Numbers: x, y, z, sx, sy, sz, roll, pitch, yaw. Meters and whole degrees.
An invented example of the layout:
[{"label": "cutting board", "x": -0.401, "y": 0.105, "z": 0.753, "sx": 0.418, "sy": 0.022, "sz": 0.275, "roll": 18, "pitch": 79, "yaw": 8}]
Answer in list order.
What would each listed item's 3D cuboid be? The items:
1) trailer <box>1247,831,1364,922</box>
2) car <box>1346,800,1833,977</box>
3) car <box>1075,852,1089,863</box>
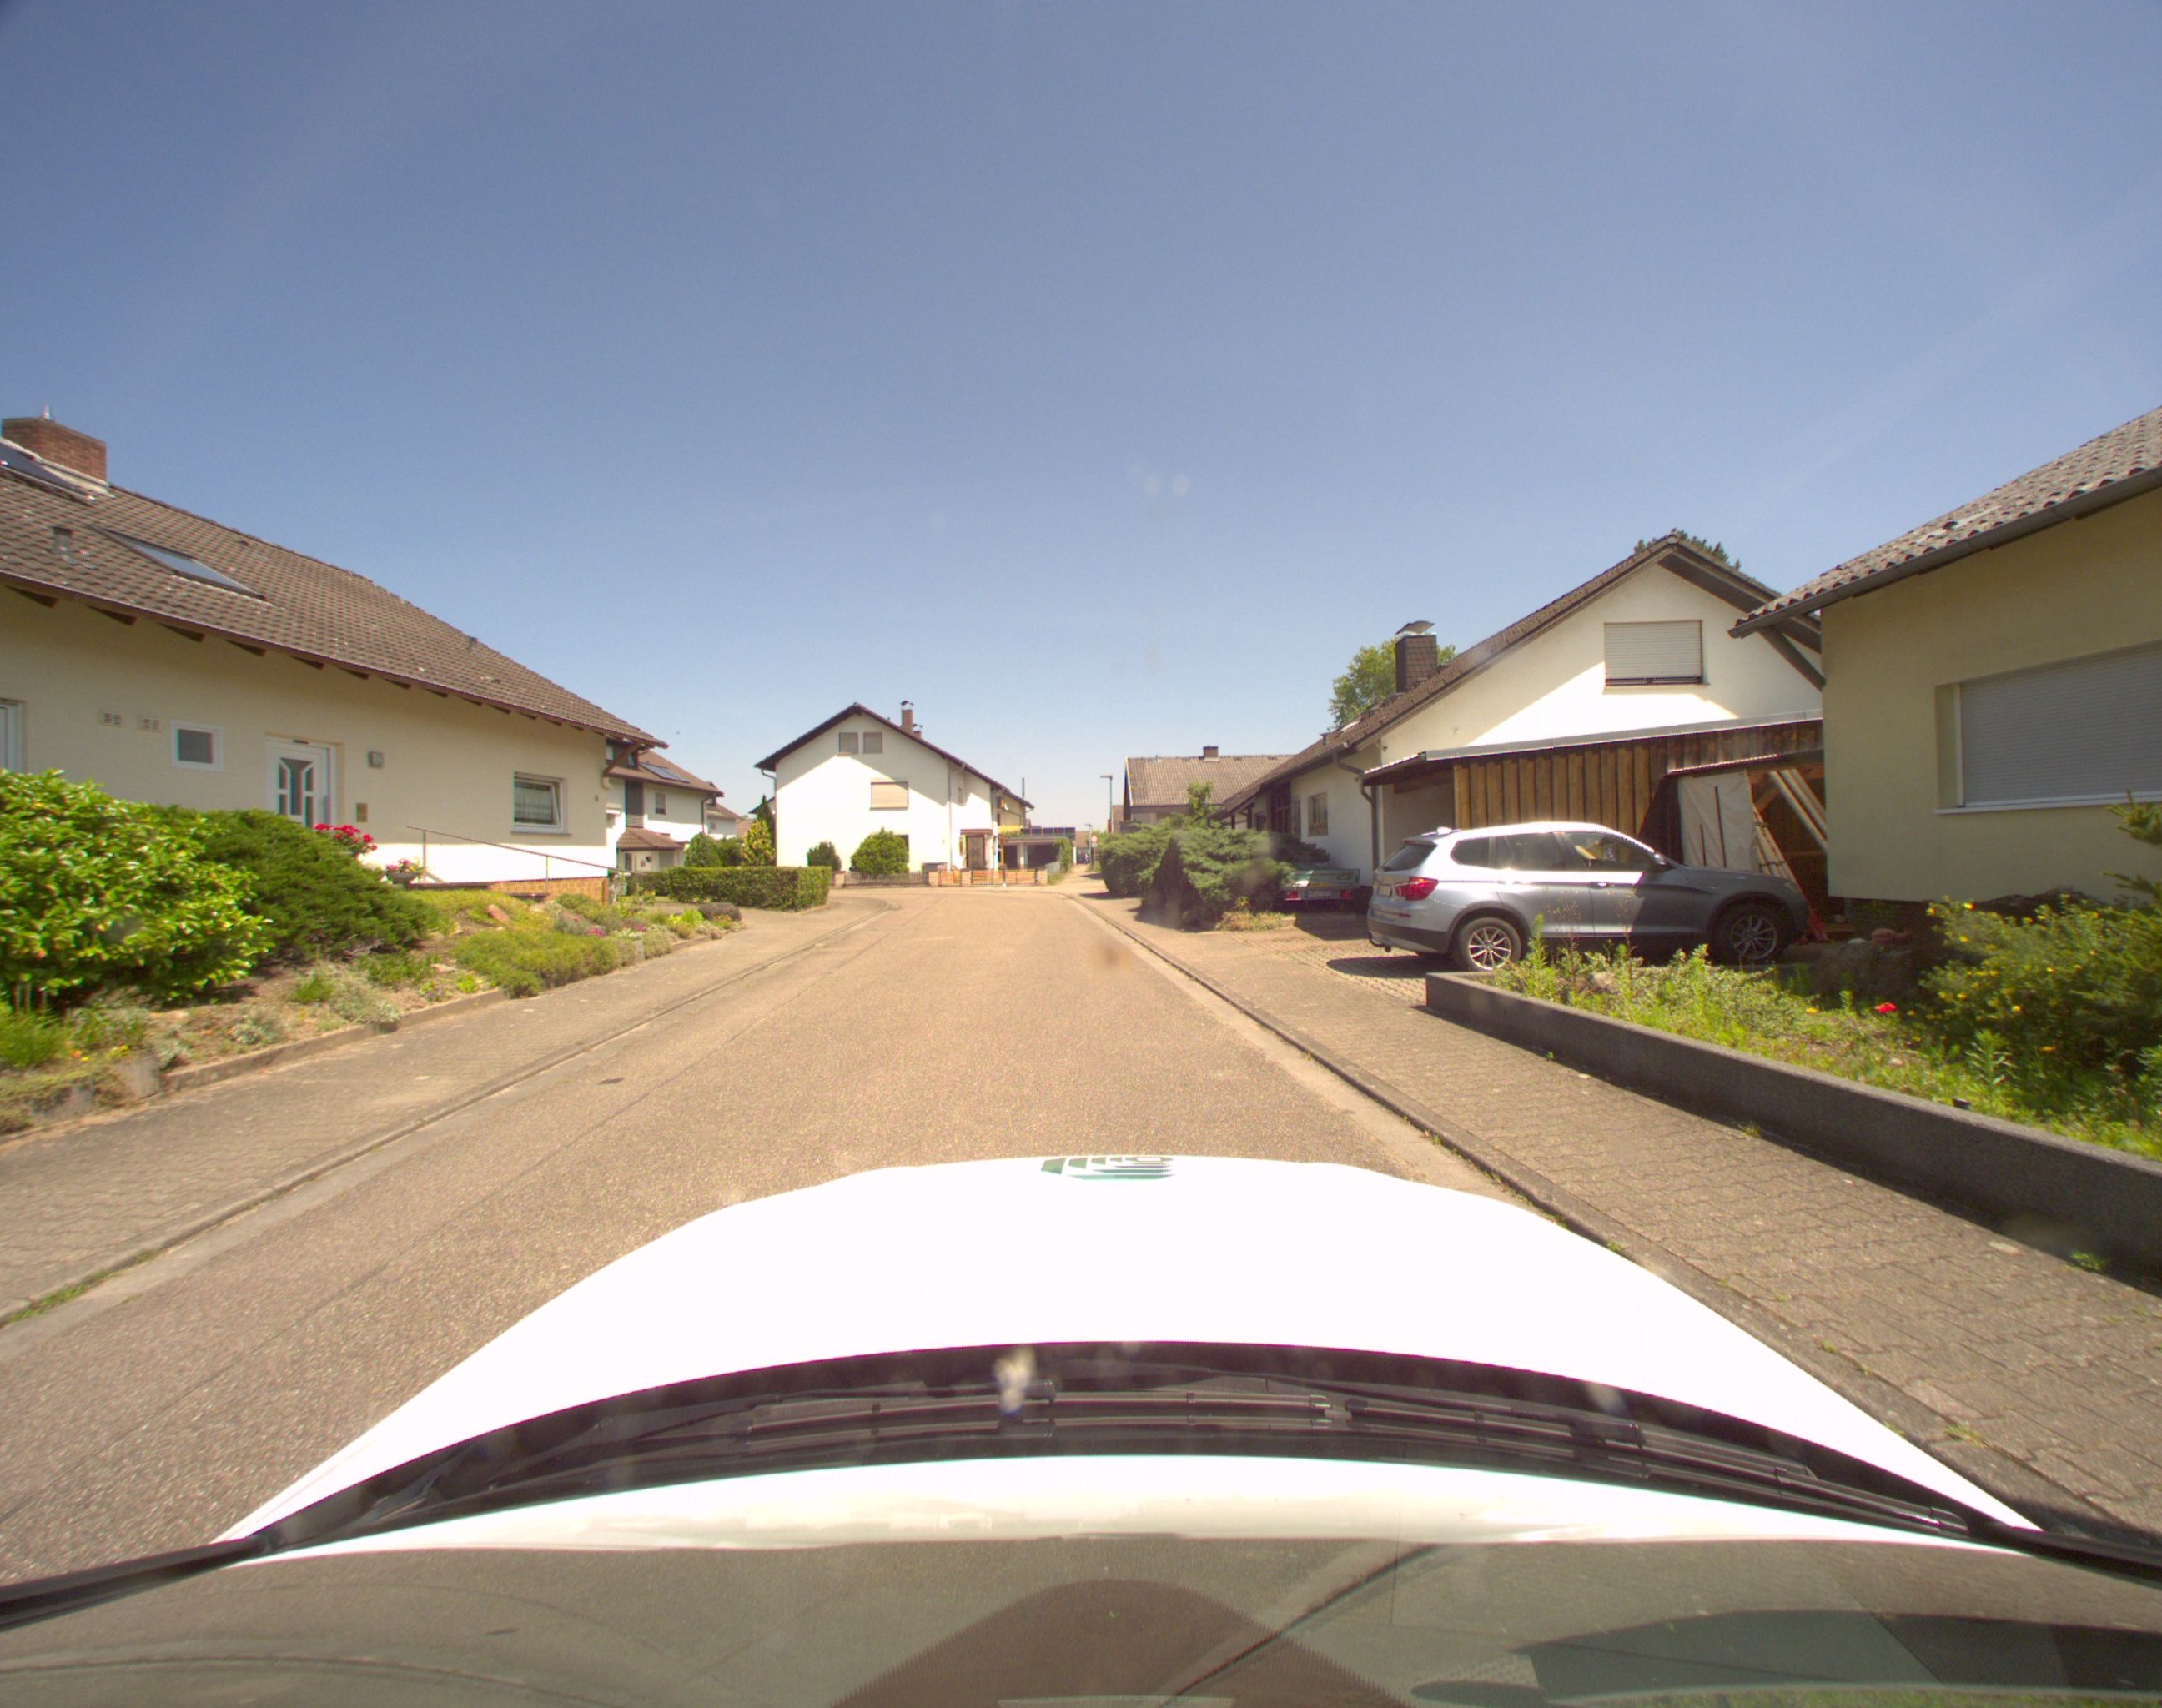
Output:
[{"label": "trailer", "x": 4.657, "y": 0.409, "z": 17.310, "sx": 1.581, "sy": 1.672, "sz": 3.298, "roll": -3, "pitch": 0, "yaw": 2}, {"label": "car", "x": 5.756, "y": 0.387, "z": 9.694, "sx": 4.607, "sy": 1.702, "sz": 1.711, "roll": -3, "pitch": 0, "yaw": 4}, {"label": "car", "x": 0.236, "y": 0.607, "z": 135.461, "sx": 2.185, "sy": 1.701, "sz": 3.809, "roll": -2, "pitch": 0, "yaw": 2}]
